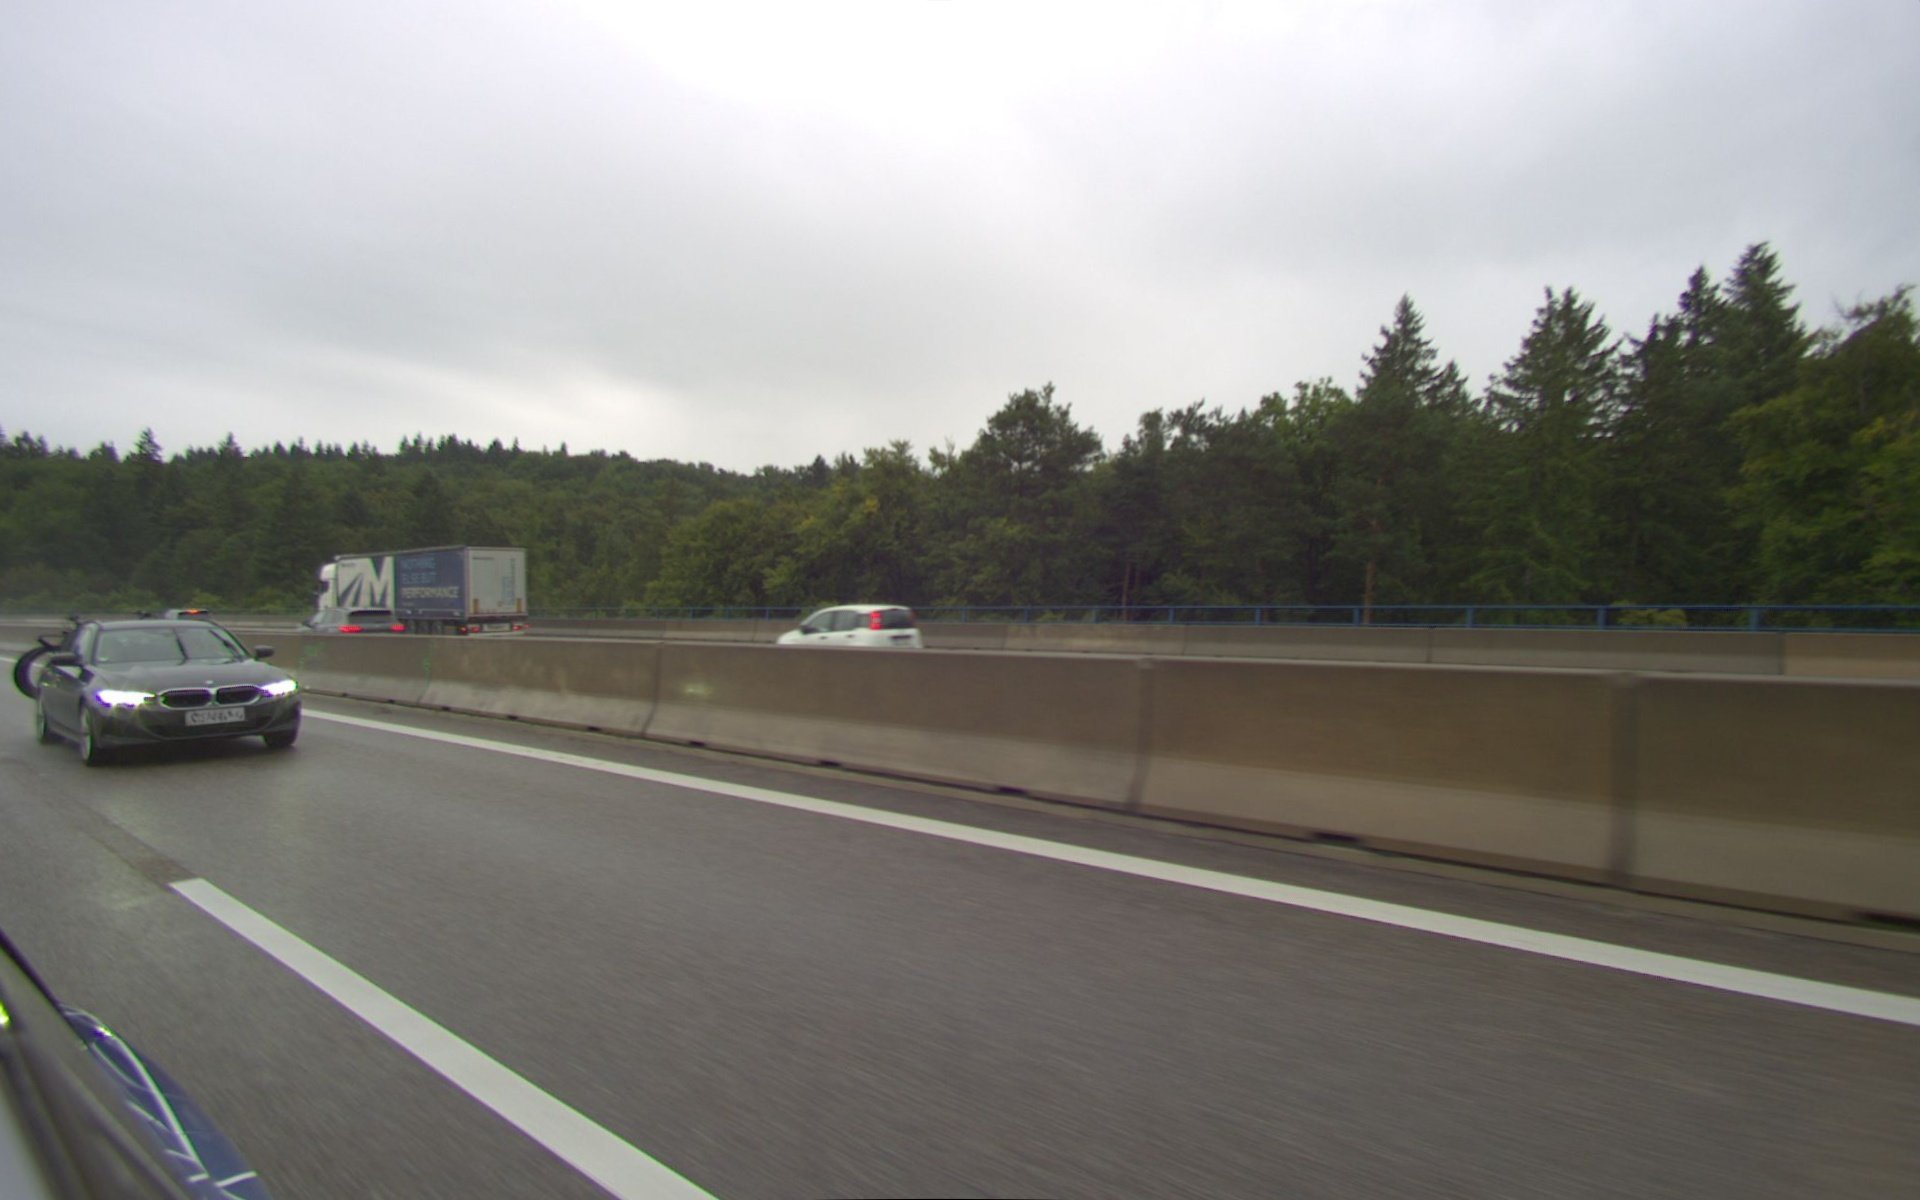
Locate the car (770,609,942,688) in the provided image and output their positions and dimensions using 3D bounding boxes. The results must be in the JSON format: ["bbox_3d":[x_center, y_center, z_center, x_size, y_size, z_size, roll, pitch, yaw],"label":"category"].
[{"bbox_3d":[-2.292,0.996,21.820,3.636,1.532,1.640,-1,-1,41],"label":"car"}]

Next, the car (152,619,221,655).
[{"bbox_3d":[-35.479,1.677,46.393,3.885,1.560,1.765,-1,-1,41],"label":"car"}]

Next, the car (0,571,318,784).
[{"bbox_3d":[-9.761,0.761,12.042,6.159,1.959,1.888,-1,-1,41],"label":"car"}]

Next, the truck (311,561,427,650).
[{"bbox_3d":[-29.043,0.292,49.645,6.376,4.063,2.917,-1,-1,40],"label":"truck"}]

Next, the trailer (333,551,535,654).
[{"bbox_3d":[-23.892,0.195,45.334,13.776,4.063,2.917,-1,-1,40],"label":"trailer"}]

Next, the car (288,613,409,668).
[{"bbox_3d":[-19.061,1.210,31.466,4.775,1.560,1.866,-1,-1,41],"label":"car"}]
